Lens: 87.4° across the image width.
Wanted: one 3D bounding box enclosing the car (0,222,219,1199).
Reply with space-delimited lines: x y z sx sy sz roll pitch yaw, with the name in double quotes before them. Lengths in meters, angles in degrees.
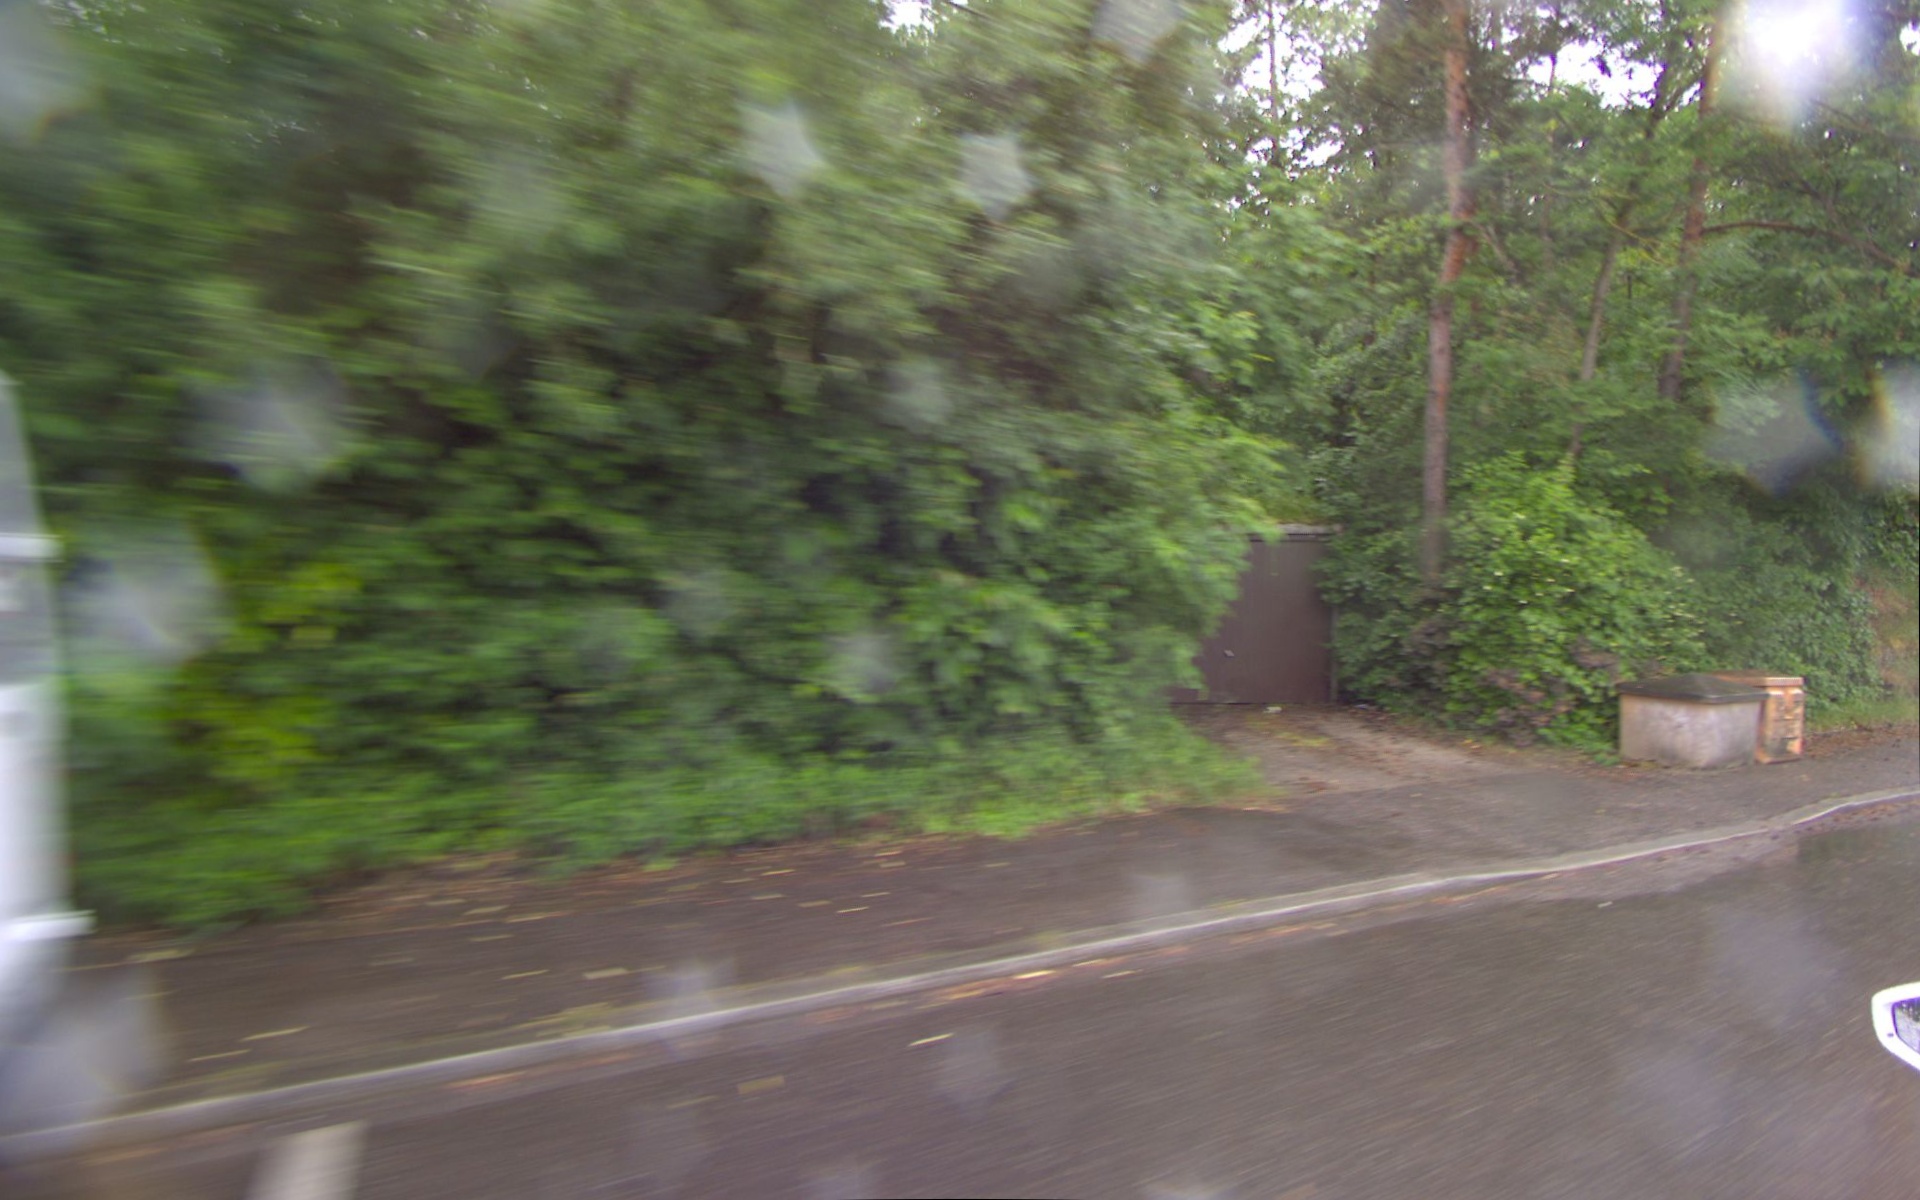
"car" -3.912 0.399 0.726 5.106 2.001 2.104 1 0 -27
